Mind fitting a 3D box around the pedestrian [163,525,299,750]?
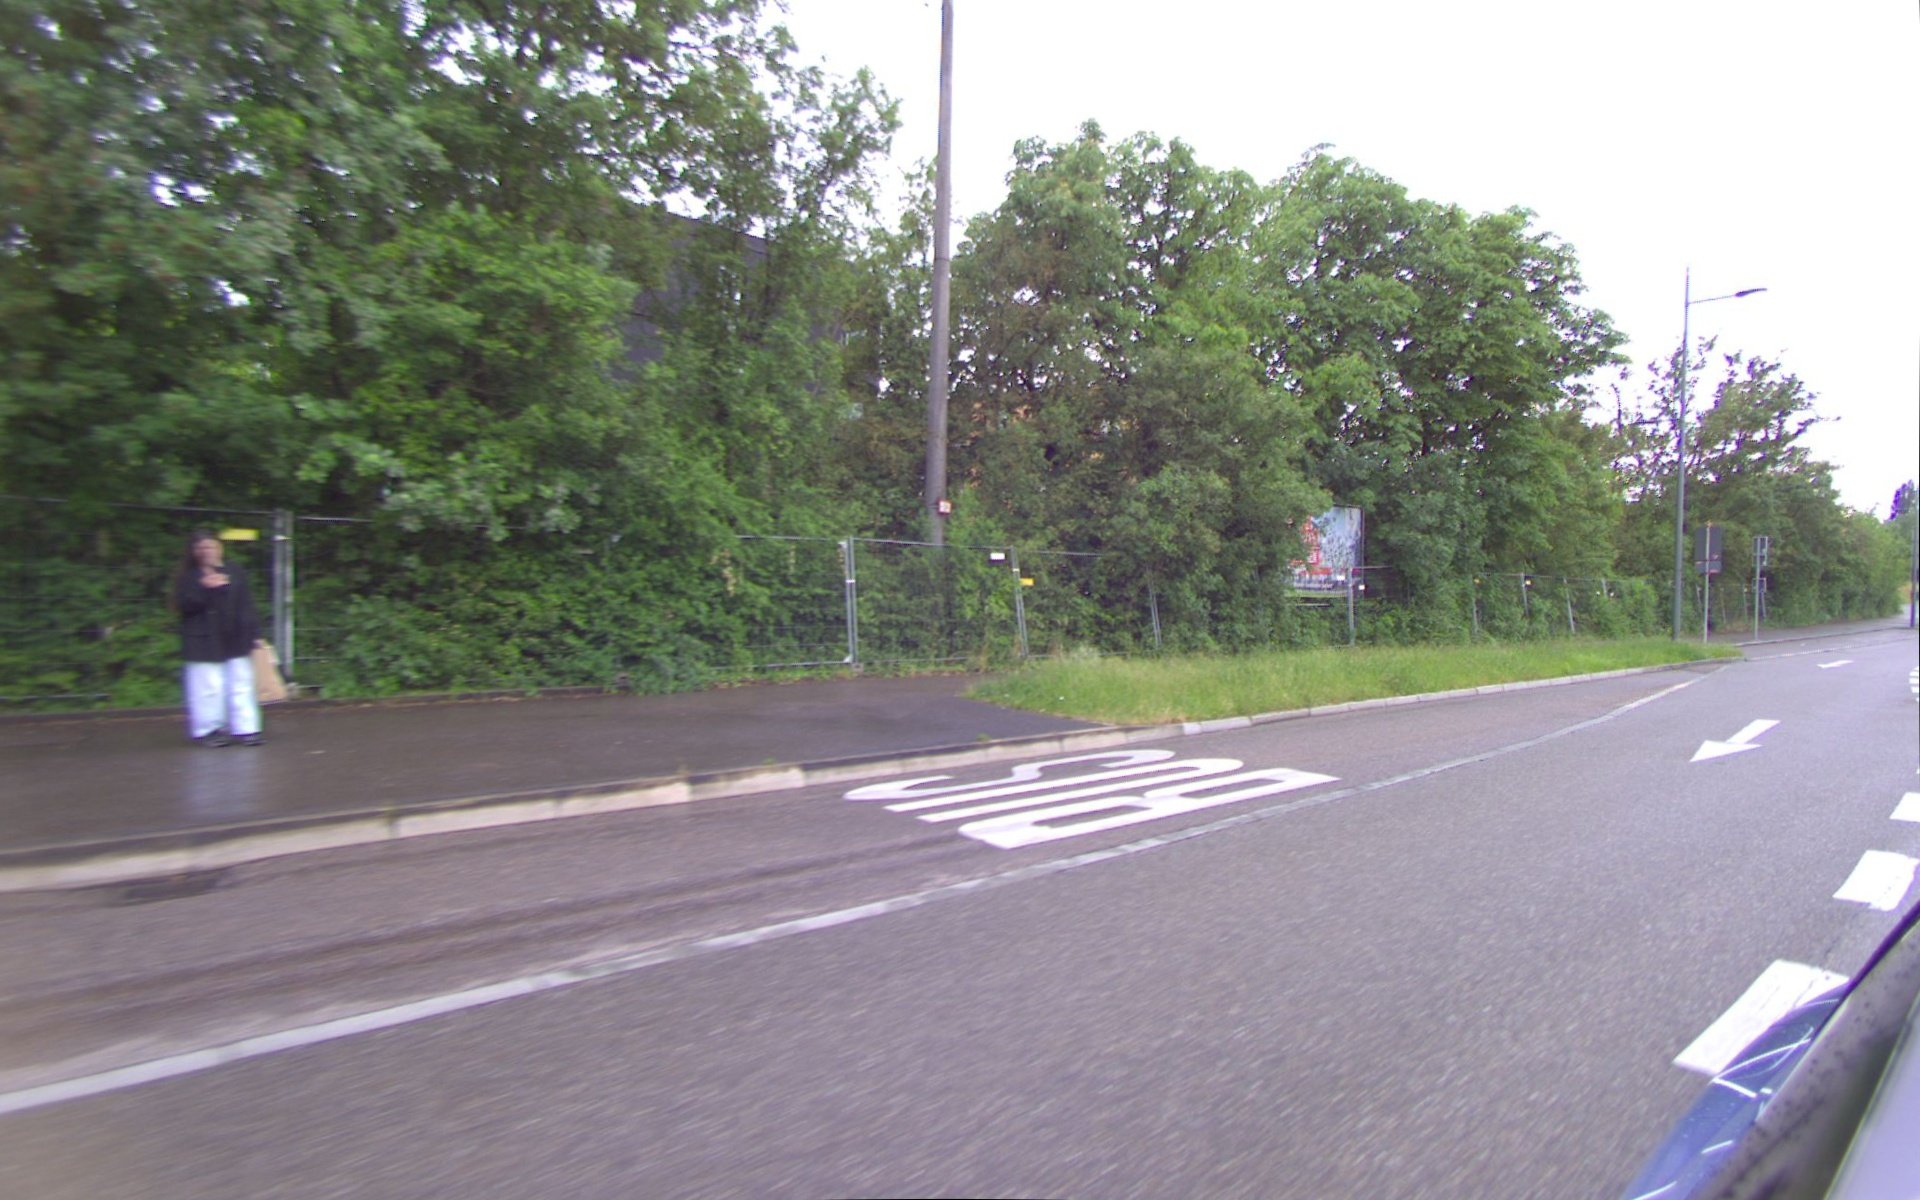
[{"bbox_3d":[-5.802,0.264,8.059,0.780,1.678,0.676,0,2,-45],"label":"pedestrian"}]
